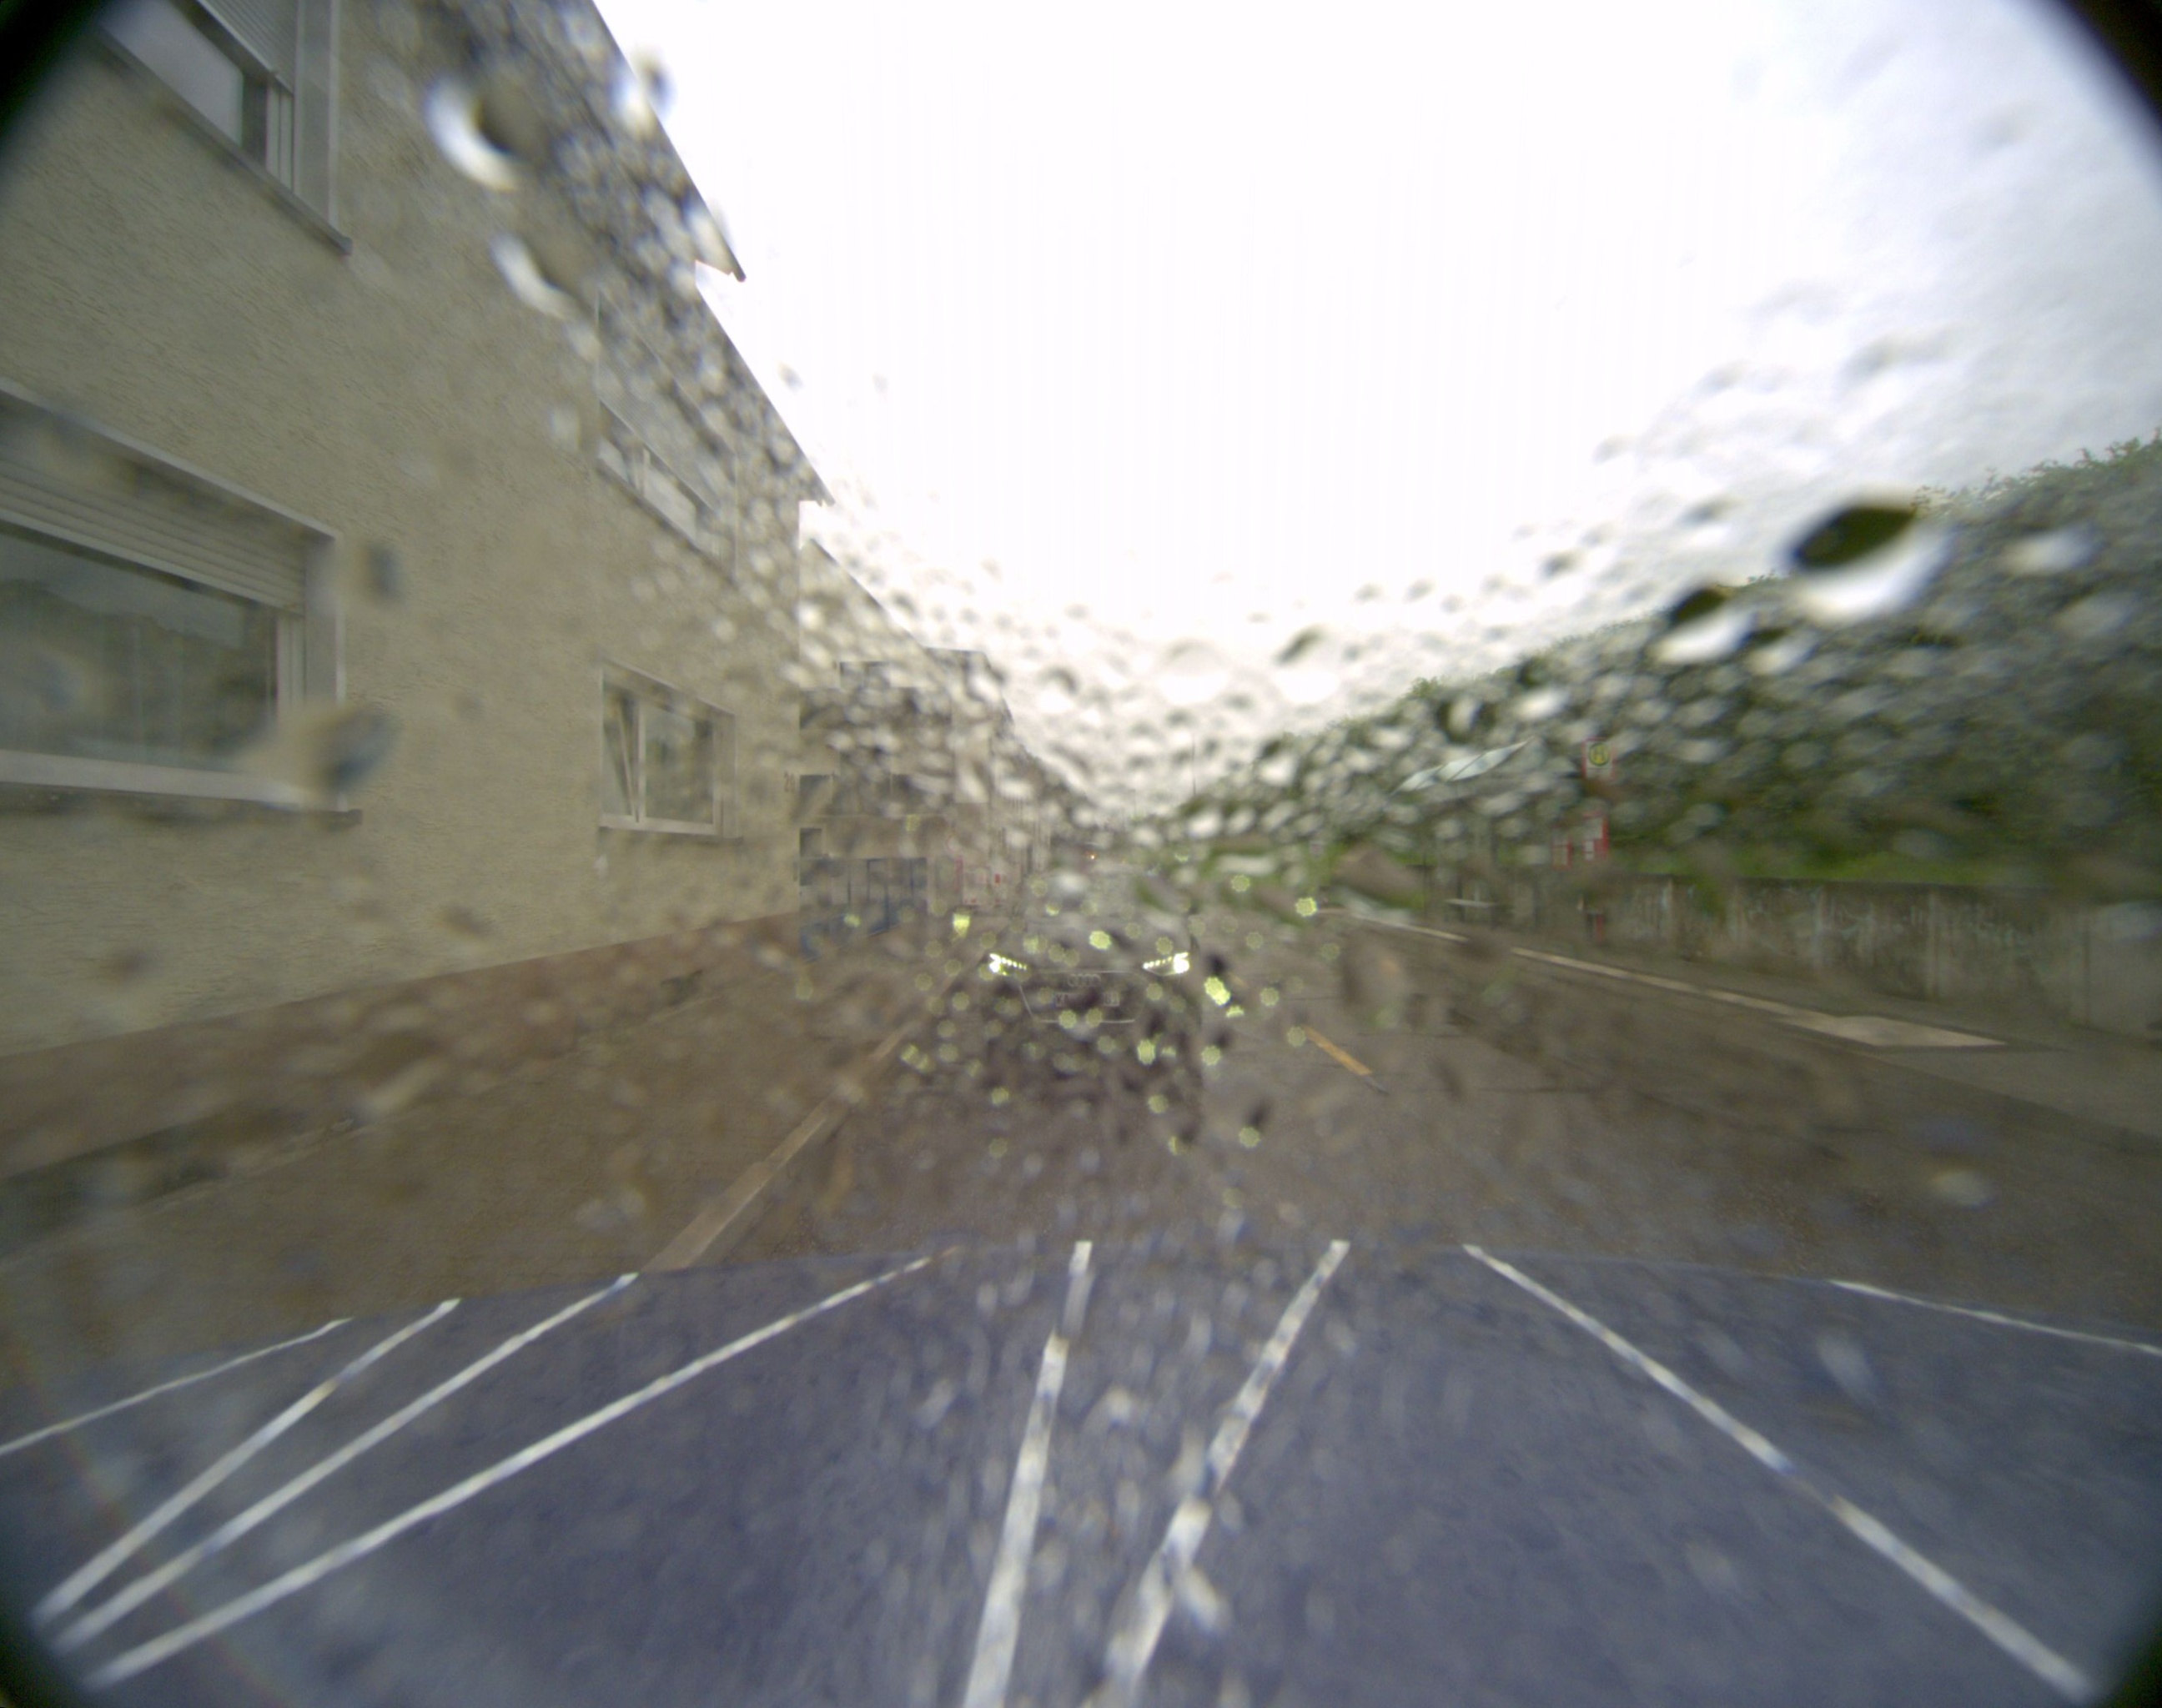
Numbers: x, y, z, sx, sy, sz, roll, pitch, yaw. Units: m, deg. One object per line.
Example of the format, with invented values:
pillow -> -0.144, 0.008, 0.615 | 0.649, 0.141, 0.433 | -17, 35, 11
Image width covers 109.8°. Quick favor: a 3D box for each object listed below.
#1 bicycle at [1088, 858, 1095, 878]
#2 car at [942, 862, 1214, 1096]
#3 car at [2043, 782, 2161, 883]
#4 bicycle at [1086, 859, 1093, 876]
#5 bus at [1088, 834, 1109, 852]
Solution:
bicycle -> 0.641, 0.827, 46.055 | 0.407, 1.137, 1.221 | 1, 1, 2
car -> 0.146, 0.876, 7.470 | 1.851, 1.444, 4.533 | 1, 1, 5
car -> 15.765, -0.276, 9.622 | 1.749, 1.382, 4.220 | -2, 3, 0
bicycle -> 0.562, 0.849, 48.291 | 0.407, 1.023, 1.221 | 1, 1, 2
bus -> 3.217, -1.972, 135.615 | 2.684, 2.988, 14.549 | 1, 1, 5
